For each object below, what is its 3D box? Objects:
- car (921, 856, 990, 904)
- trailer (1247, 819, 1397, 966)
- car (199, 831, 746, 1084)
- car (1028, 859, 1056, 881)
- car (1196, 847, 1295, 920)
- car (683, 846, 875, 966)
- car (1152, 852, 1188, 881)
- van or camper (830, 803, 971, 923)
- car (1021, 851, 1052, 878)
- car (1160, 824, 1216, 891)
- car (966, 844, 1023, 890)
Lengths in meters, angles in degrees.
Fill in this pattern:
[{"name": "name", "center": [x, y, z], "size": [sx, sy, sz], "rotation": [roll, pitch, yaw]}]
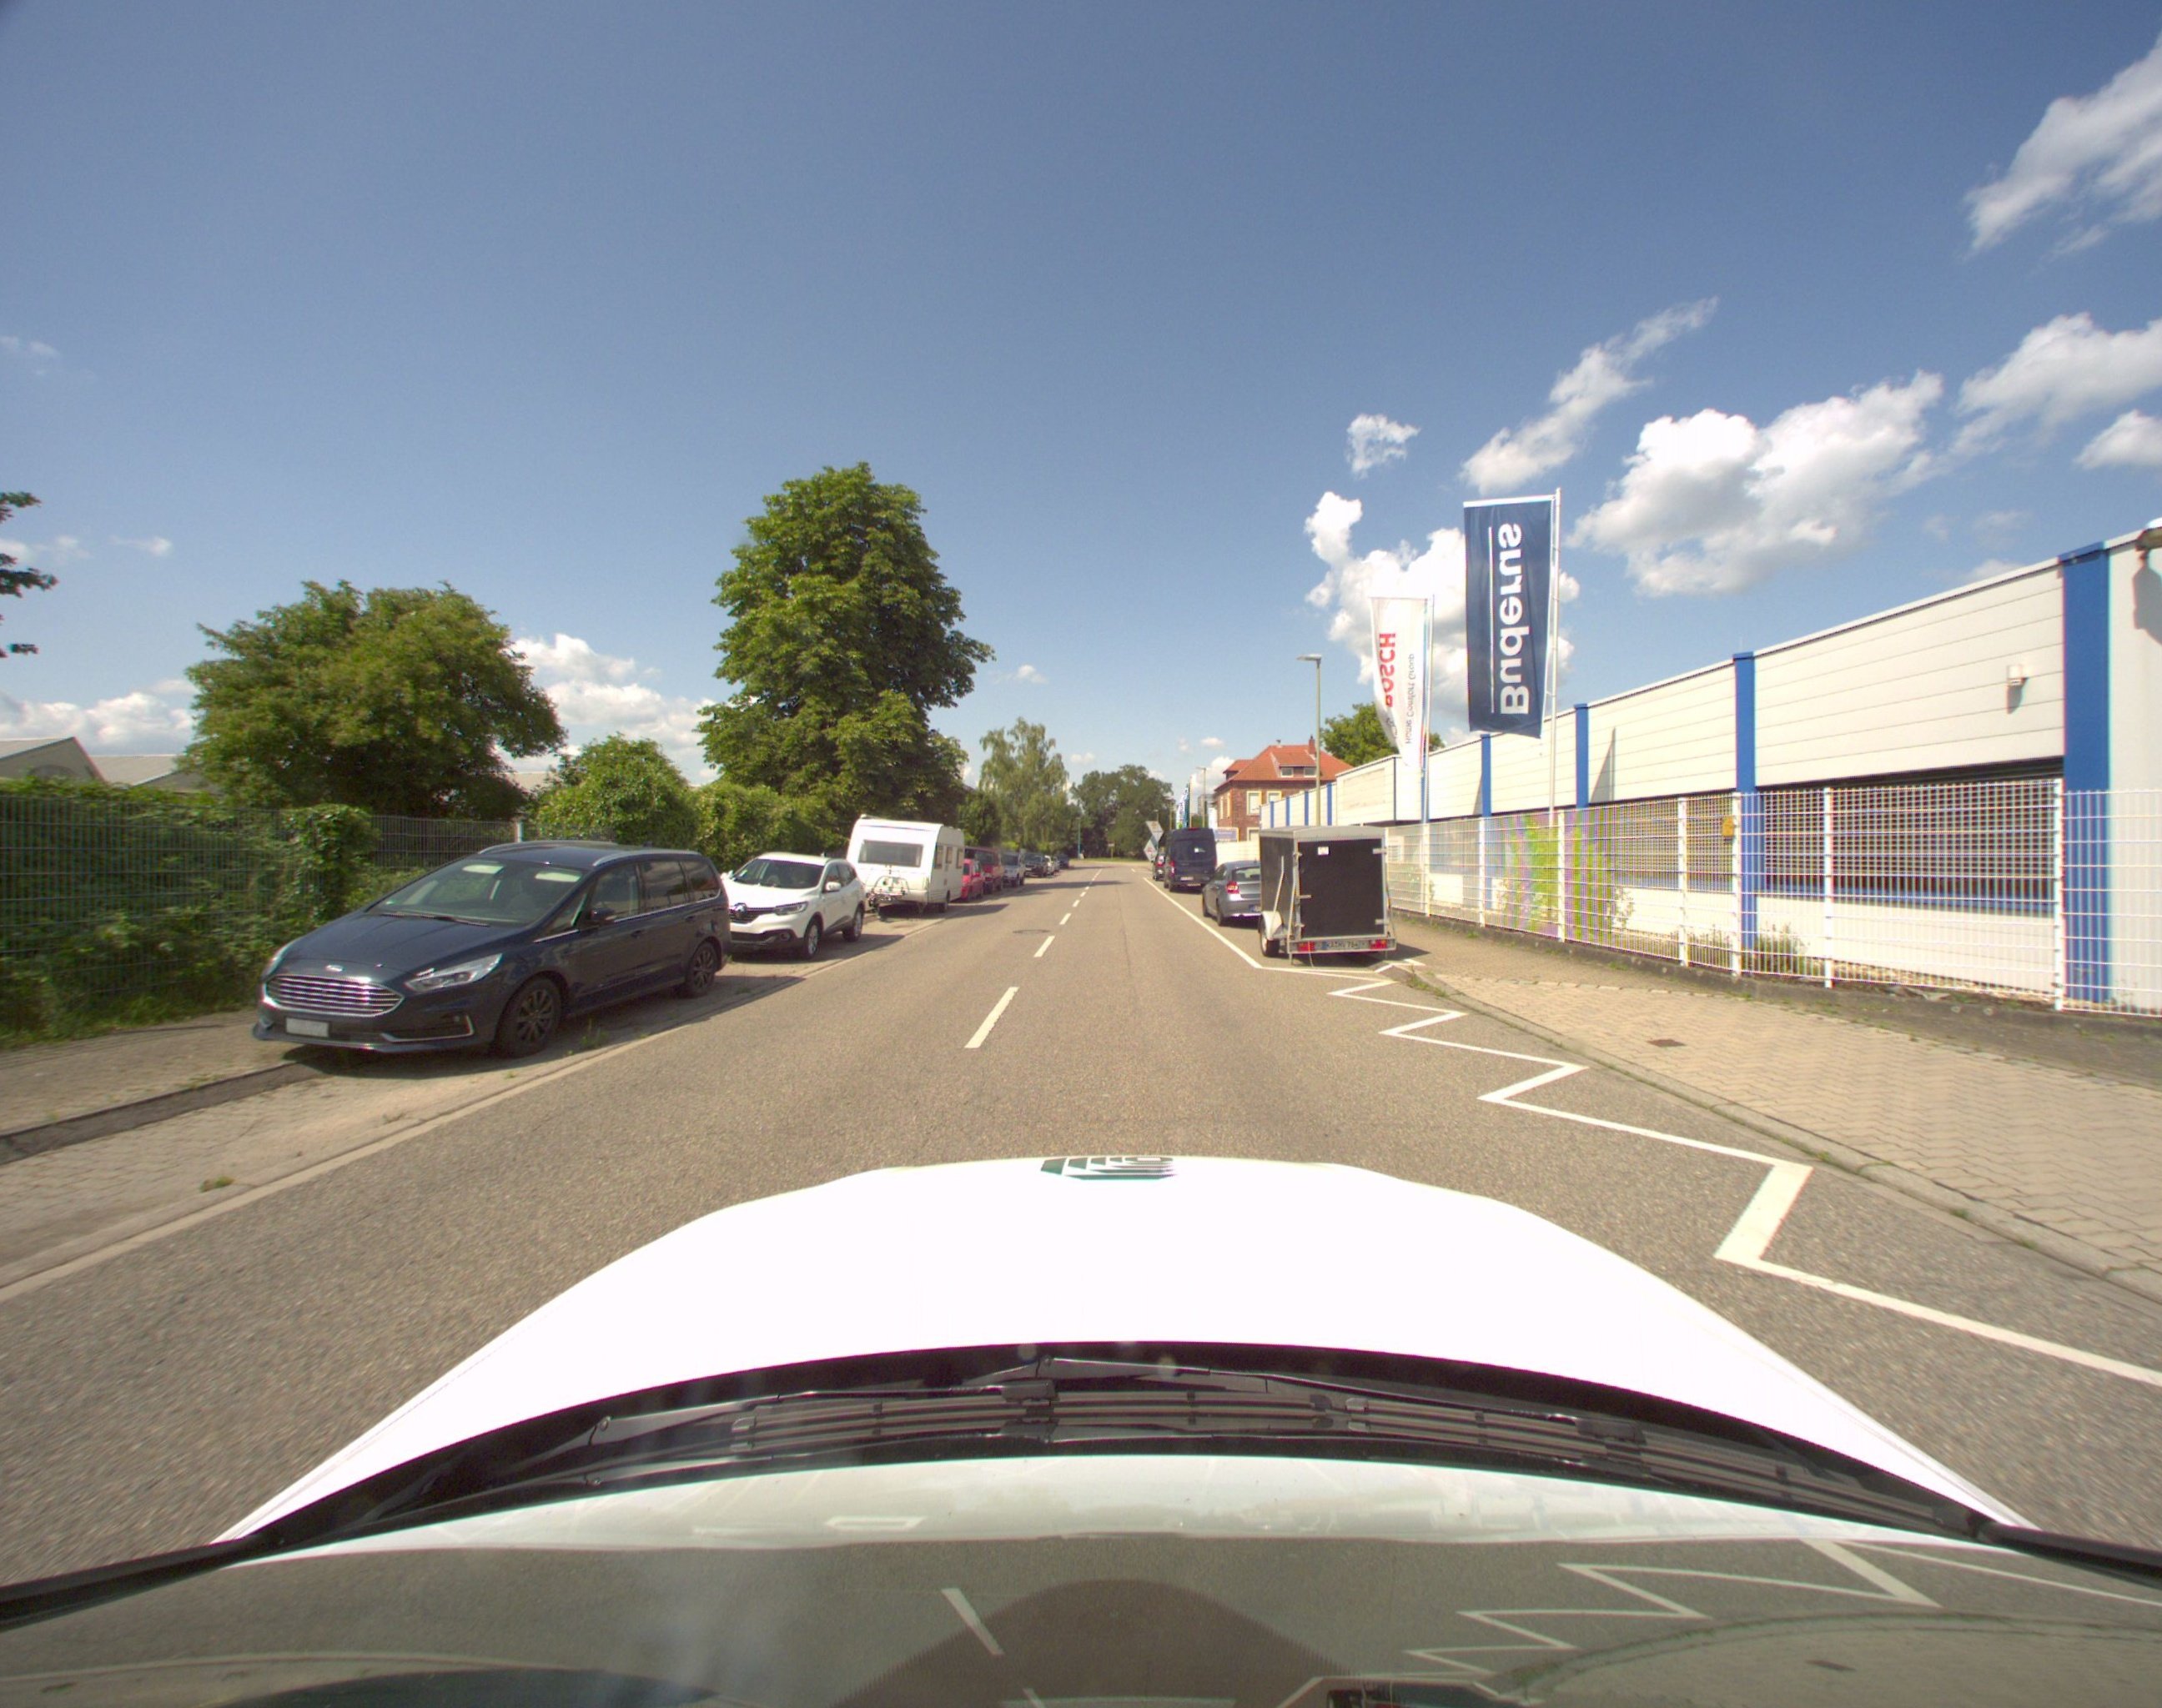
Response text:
[{"name": "car", "center": [-4.547, 0.890, 30.072], "size": [1.618, 1.532, 4.271], "rotation": [4, 0, 2]}, {"name": "trailer", "center": [3.636, 0.536, 12.706], "size": [1.595, 2.037, 2.742], "rotation": [1, 0, 2]}, {"name": "car", "center": [-5.316, 0.738, 8.170], "size": [1.820, 1.793, 4.737], "rotation": [0, 0, 2]}, {"name": "car", "center": [-2.972, 1.196, 63.549], "size": [1.693, 1.595, 4.791], "rotation": [0, 0, 3]}, {"name": "car", "center": [3.727, 0.619, 19.092], "size": [1.566, 1.507, 4.133], "rotation": [0, 0, 1]}, {"name": "car", "center": [-5.074, 0.777, 14.409], "size": [1.678, 1.692, 4.443], "rotation": [4, 0, -1]}, {"name": "car", "center": [5.280, 0.699, 48.644], "size": [1.817, 1.664, 4.559], "rotation": [-1, 0, 3]}, {"name": "van or camper", "center": [-4.871, 0.216, 23.317], "size": [2.255, 2.803, 6.834], "rotation": [3, 0, 1]}, {"name": "car", "center": [-3.066, 0.681, 56.793], "size": [1.603, 1.745, 4.641], "rotation": [2, 0, 4]}, {"name": "car", "center": [4.675, 0.155, 36.457], "size": [1.930, 2.748, 6.157], "rotation": [0, 0, 2]}, {"name": "car", "center": [-4.141, 0.607, 39.773], "size": [1.891, 1.954, 4.960], "rotation": [5, 0, 2]}]
